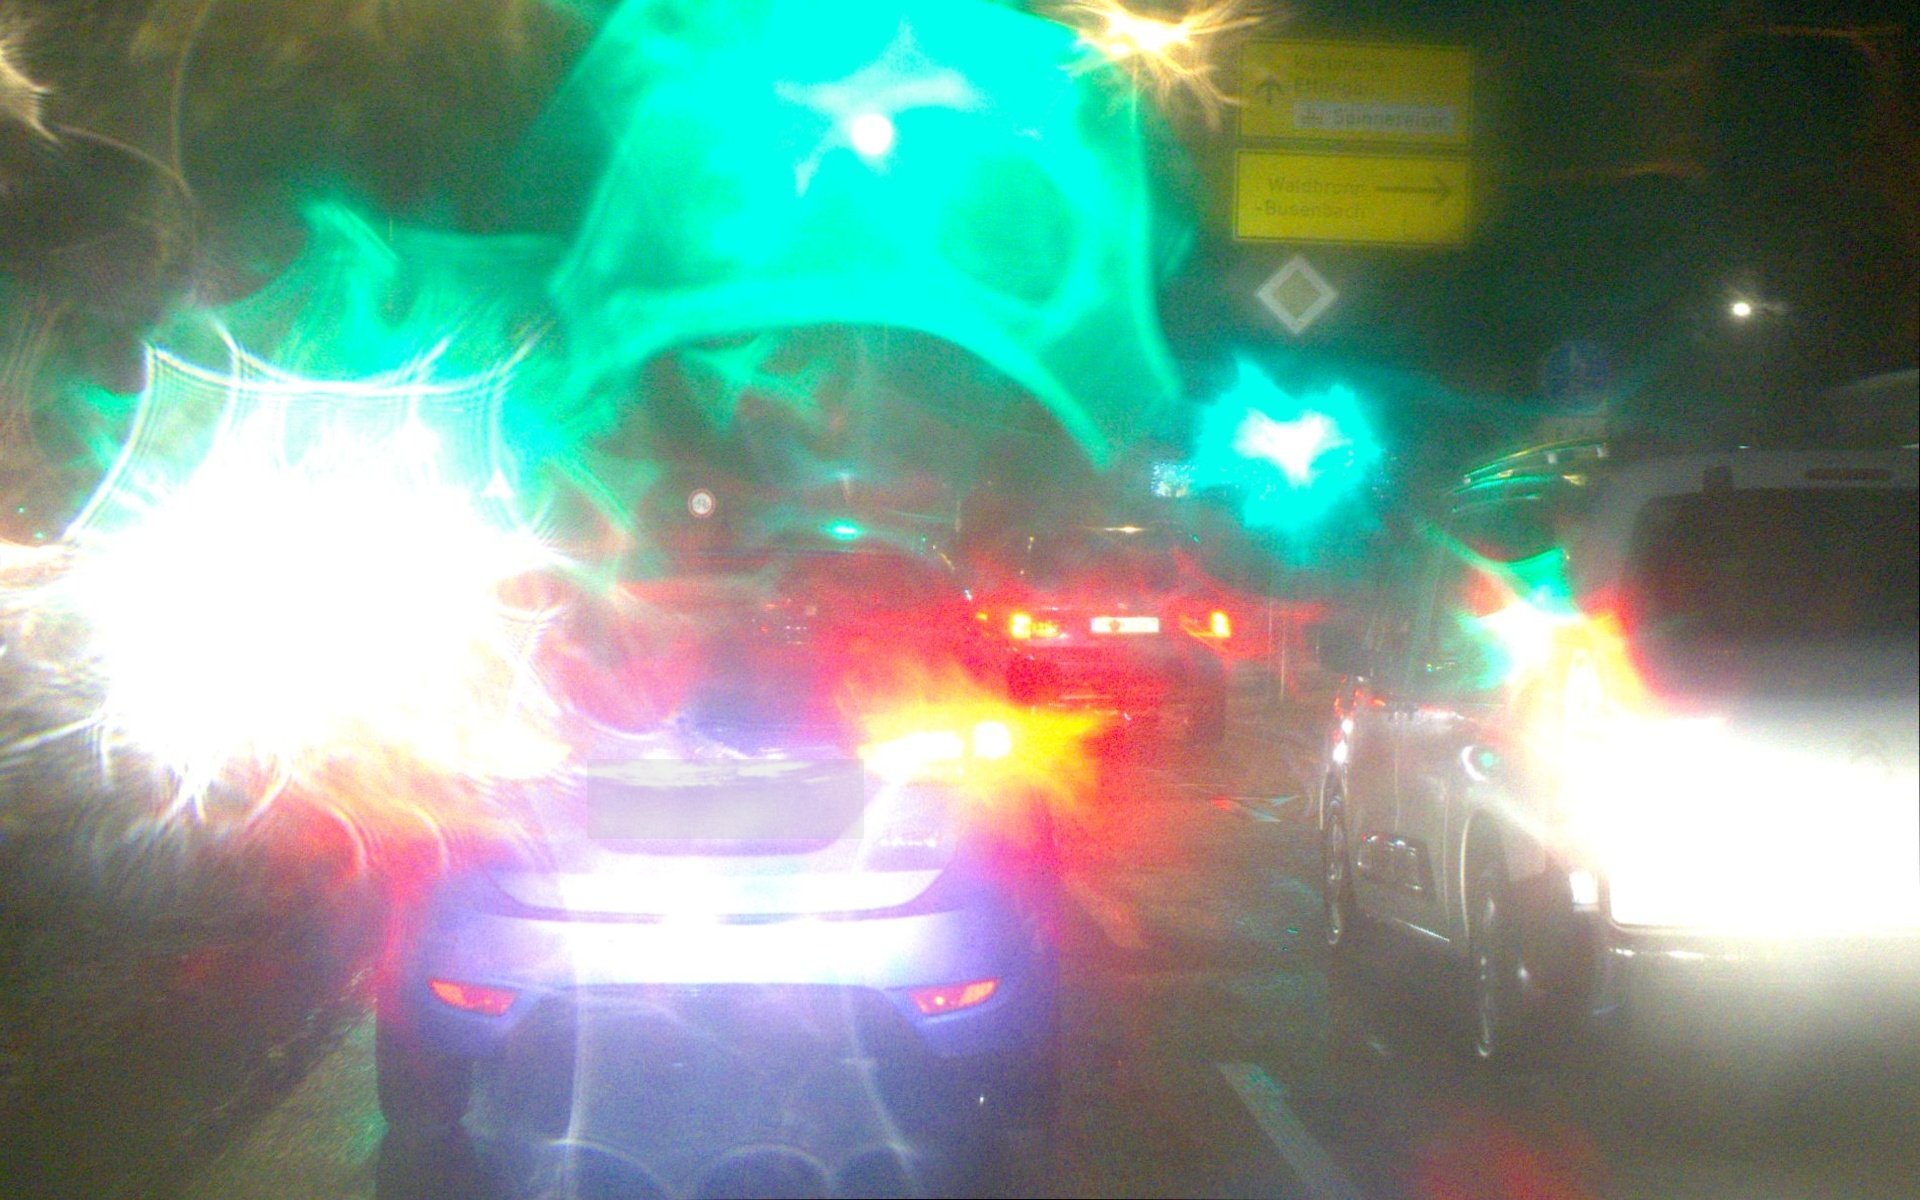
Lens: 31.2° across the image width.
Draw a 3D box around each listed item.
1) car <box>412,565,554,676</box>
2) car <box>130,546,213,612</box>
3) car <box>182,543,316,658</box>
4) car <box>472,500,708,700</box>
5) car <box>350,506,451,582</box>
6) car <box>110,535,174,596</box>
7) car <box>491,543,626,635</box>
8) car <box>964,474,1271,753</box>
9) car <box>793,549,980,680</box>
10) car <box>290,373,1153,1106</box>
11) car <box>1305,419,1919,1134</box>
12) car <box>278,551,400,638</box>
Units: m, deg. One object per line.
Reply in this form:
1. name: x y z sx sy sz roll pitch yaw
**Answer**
1. car: -7.941 0.315 56.946 1.993 1.726 4.001 1 1 -12
2. car: -22.485 -0.610 97.976 1.993 1.818 4.001 1 1 -17
3. car: -12.900 -0.020 62.198 2.014 1.880 4.453 1 2 -16
4. car: -4.043 -0.024 37.045 1.993 2.007 4.001 1 1 -14
5. car: -14.051 -1.396 86.152 1.993 1.814 4.001 1 1 -16
6. car: -27.987 -1.199 117.579 1.993 2.007 4.001 1 1 -15
7. car: -7.674 -0.223 65.418 1.993 1.664 4.001 1 1 -15
8. car: 1.177 0.082 27.615 1.968 2.040 4.001 1 1 -4
9. car: -1.074 0.167 47.917 1.993 1.712 4.001 1 1 -10
10. car: -0.746 0.314 10.385 2.014 1.711 4.452 1 1 -5
11. car: 2.315 0.449 11.206 1.851 1.858 4.341 1 1 -1
12. car: -13.670 -0.136 75.507 1.993 1.818 4.001 1 1 -19
